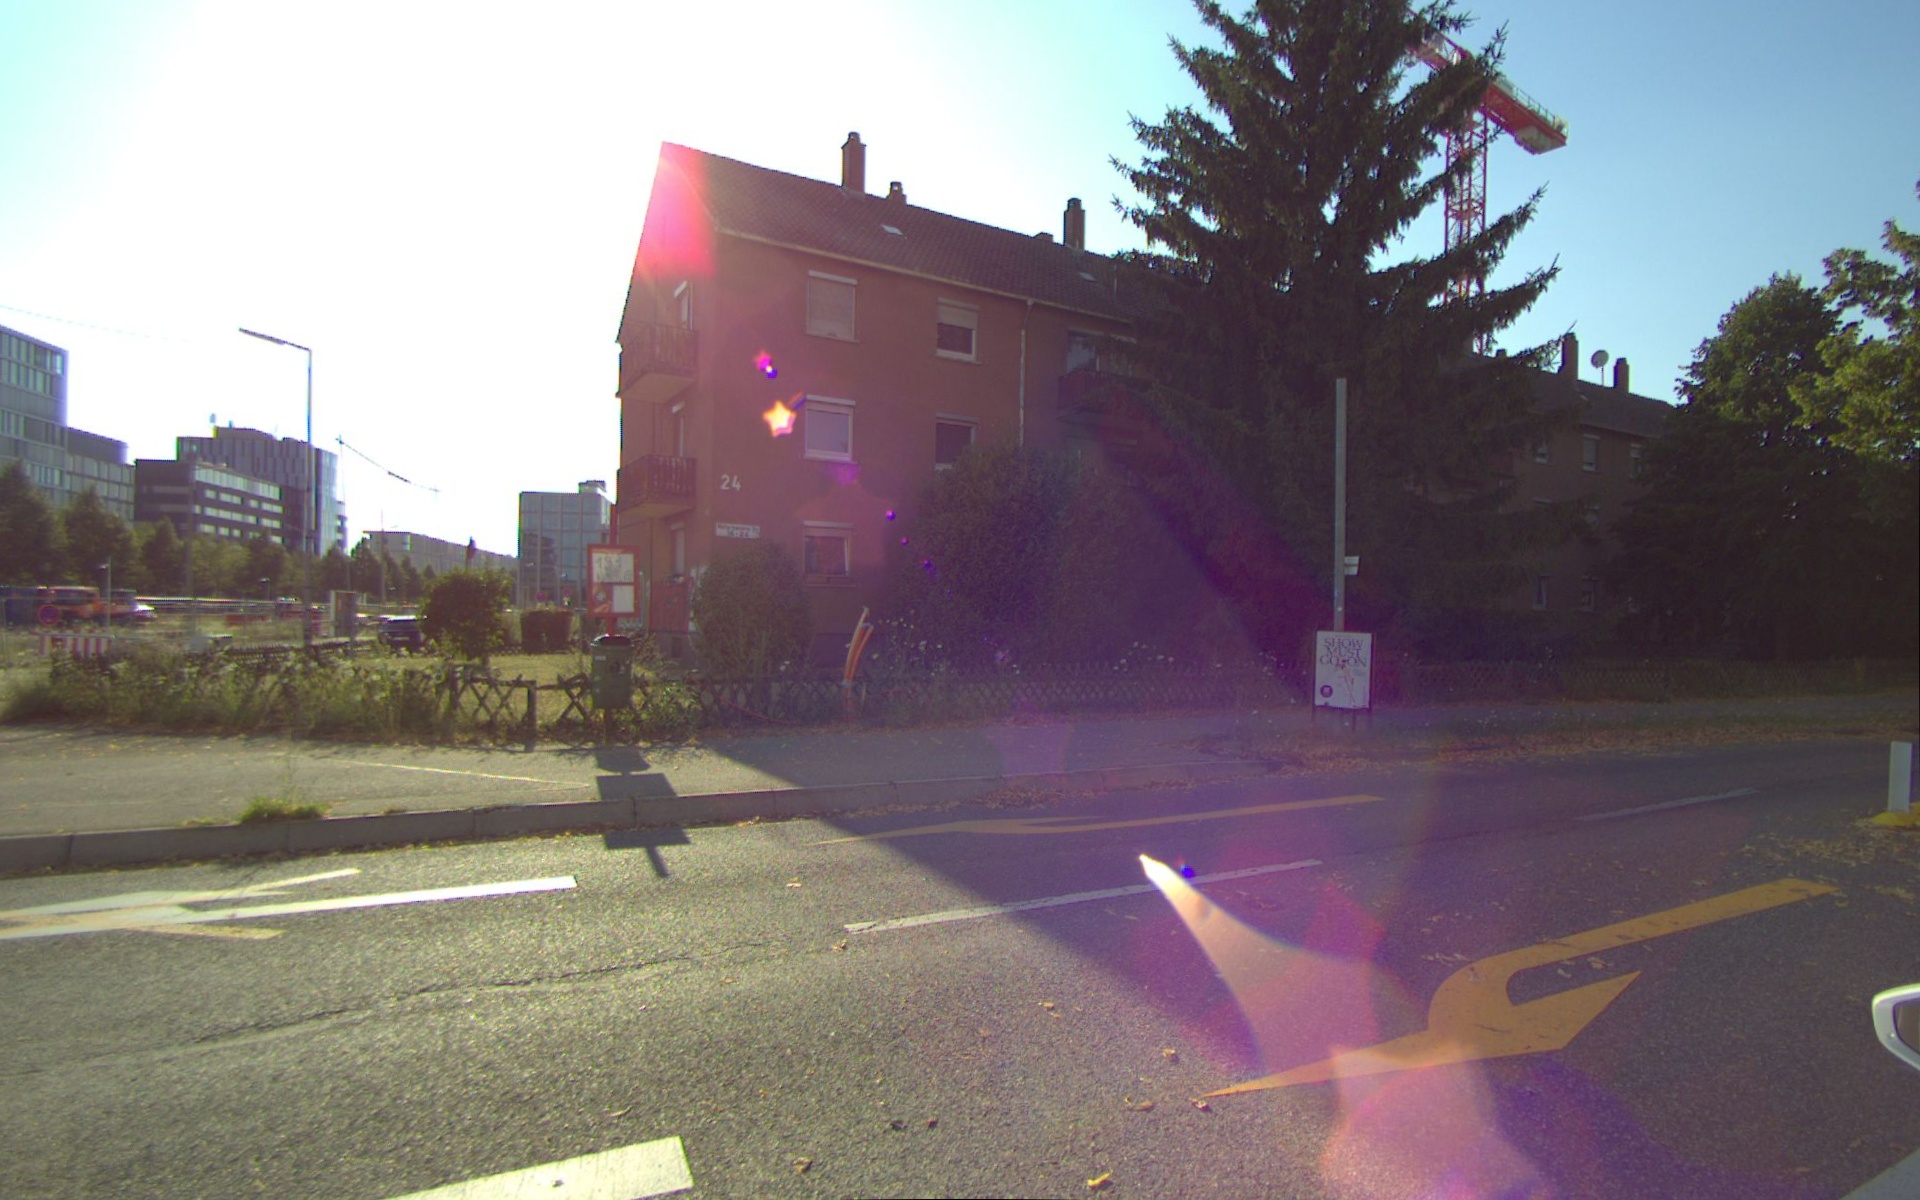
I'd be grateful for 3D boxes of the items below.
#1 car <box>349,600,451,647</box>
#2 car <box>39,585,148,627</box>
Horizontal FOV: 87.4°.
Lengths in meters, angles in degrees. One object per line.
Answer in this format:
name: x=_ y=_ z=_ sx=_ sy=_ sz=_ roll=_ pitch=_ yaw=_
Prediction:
car: x=-19.772 y=0.835 z=35.658 sx=1.965 sy=1.572 sz=3.992 roll=1 pitch=-1 yaw=-11
car: x=-54.685 y=0.424 z=63.564 sx=2.489 sy=2.472 sz=5.924 roll=1 pitch=-1 yaw=-10
